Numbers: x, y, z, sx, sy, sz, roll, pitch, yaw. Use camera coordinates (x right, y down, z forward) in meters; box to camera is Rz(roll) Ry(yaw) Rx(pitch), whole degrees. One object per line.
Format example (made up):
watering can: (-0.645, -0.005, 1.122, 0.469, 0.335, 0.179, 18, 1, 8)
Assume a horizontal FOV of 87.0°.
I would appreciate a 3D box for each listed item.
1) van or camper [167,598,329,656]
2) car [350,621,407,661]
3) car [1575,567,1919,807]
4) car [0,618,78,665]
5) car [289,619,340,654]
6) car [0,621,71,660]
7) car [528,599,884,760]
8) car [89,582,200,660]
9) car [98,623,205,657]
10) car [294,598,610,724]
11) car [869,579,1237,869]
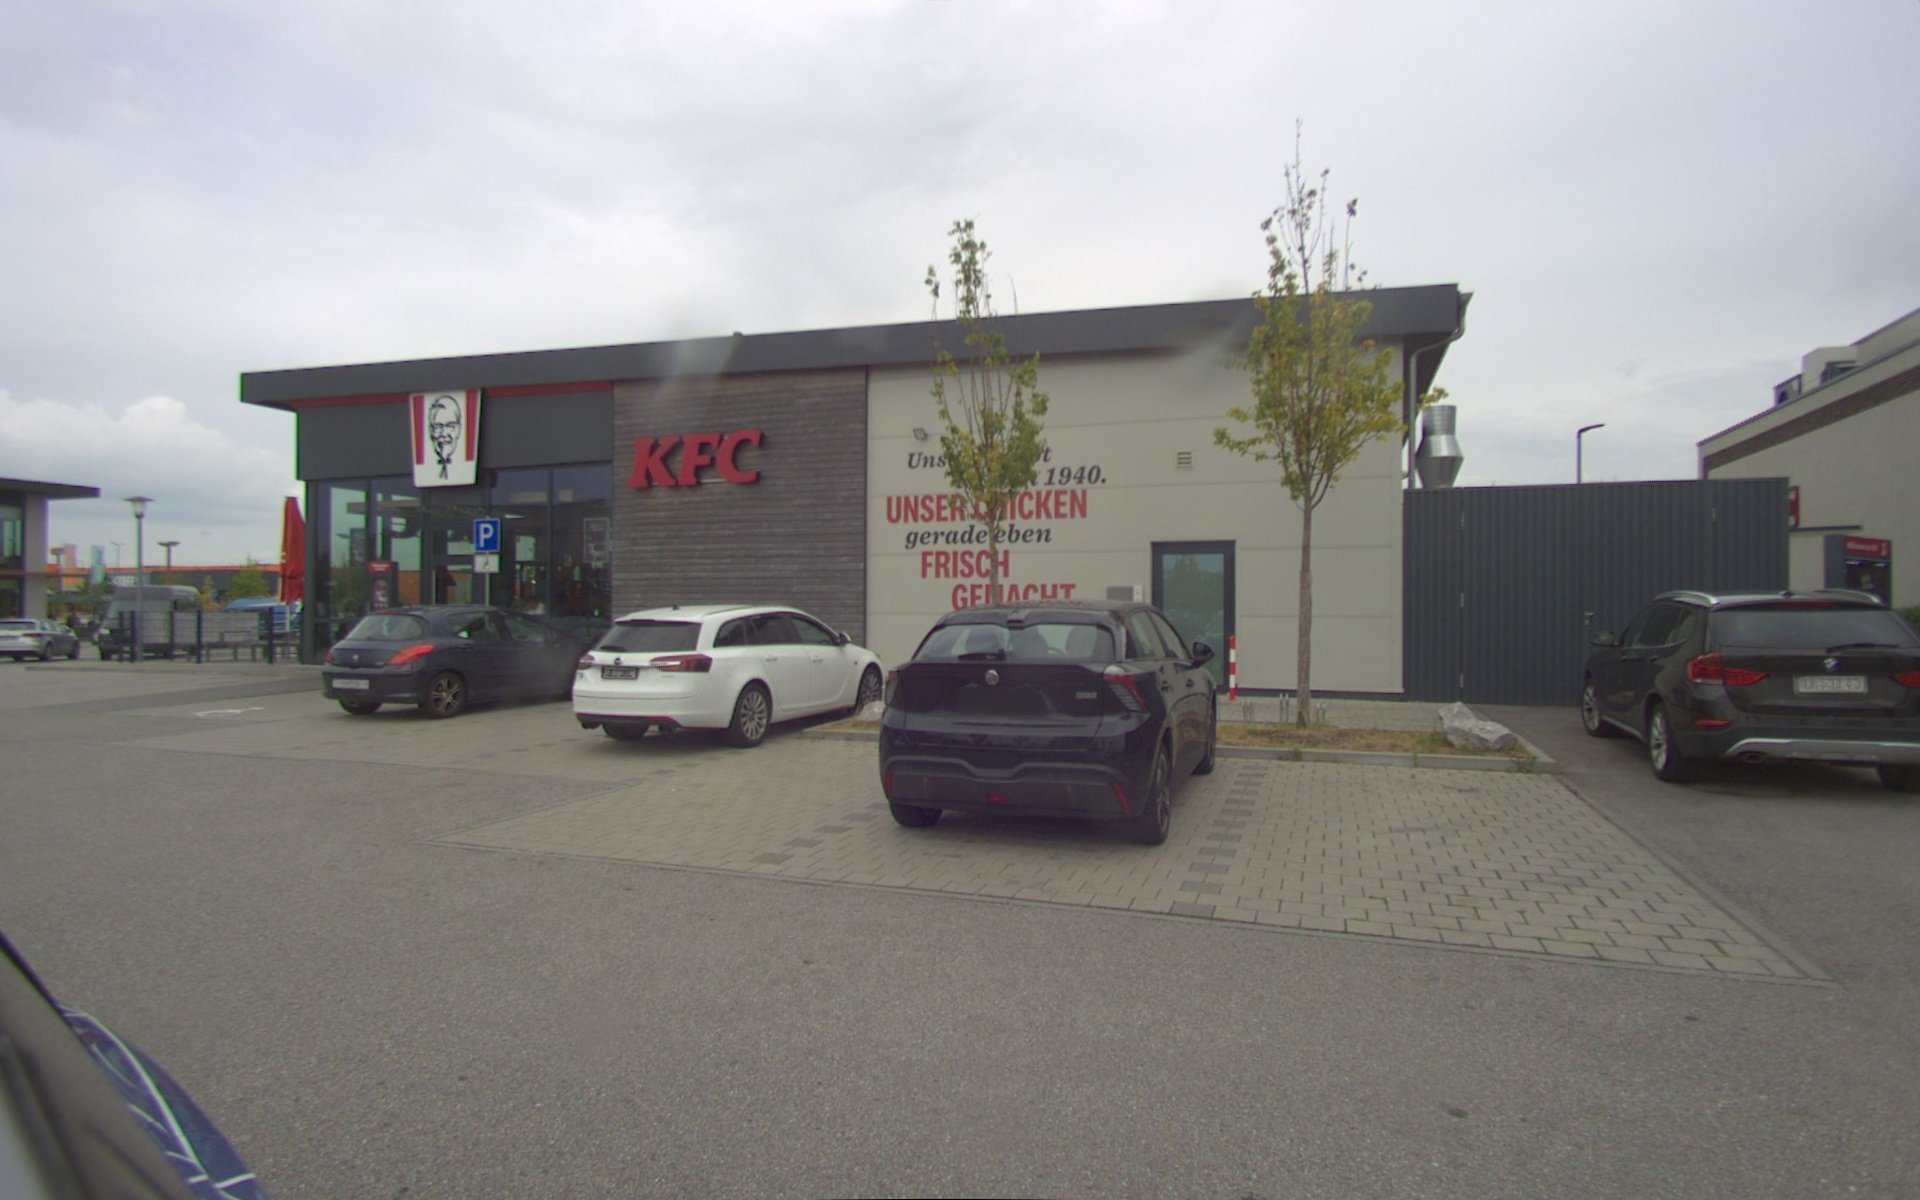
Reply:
van or camper: (-36.402, 1.360, 51.998, 6.460, 2.721, 2.179, -1, -2, -21)
car: (-26.615, 1.870, 46.229, 1.966, 1.741, 4.910, 2, -2, -33)
car: (6.787, 0.670, 8.801, 1.724, 1.608, 3.972, 0, -3, 21)
car: (-31.495, 1.396, 34.093, 1.658, 1.462, 4.013, 0, -2, -25)
car: (-28.131, 1.571, 44.138, 1.802, 1.422, 4.011, 0, -1, -32)
car: (-37.893, 1.612, 39.836, 4.040, 1.478, 1.785, 0, -4, -29)
car: (-2.667, 0.778, 11.721, 1.986, 1.497, 4.149, 0, -1, 21)
car: (-29.465, 0.799, 36.801, 2.037, 2.573, 7.034, 0, -2, -30)
car: (-36.865, 1.807, 46.230, 3.512, 1.465, 1.848, 0, -2, -27)
car: (-7.111, 0.769, 14.631, 1.746, 1.498, 3.912, -1, 0, 21)
car: (0.989, 0.698, 7.613, 1.729, 1.540, 4.094, 0, -1, 21)
